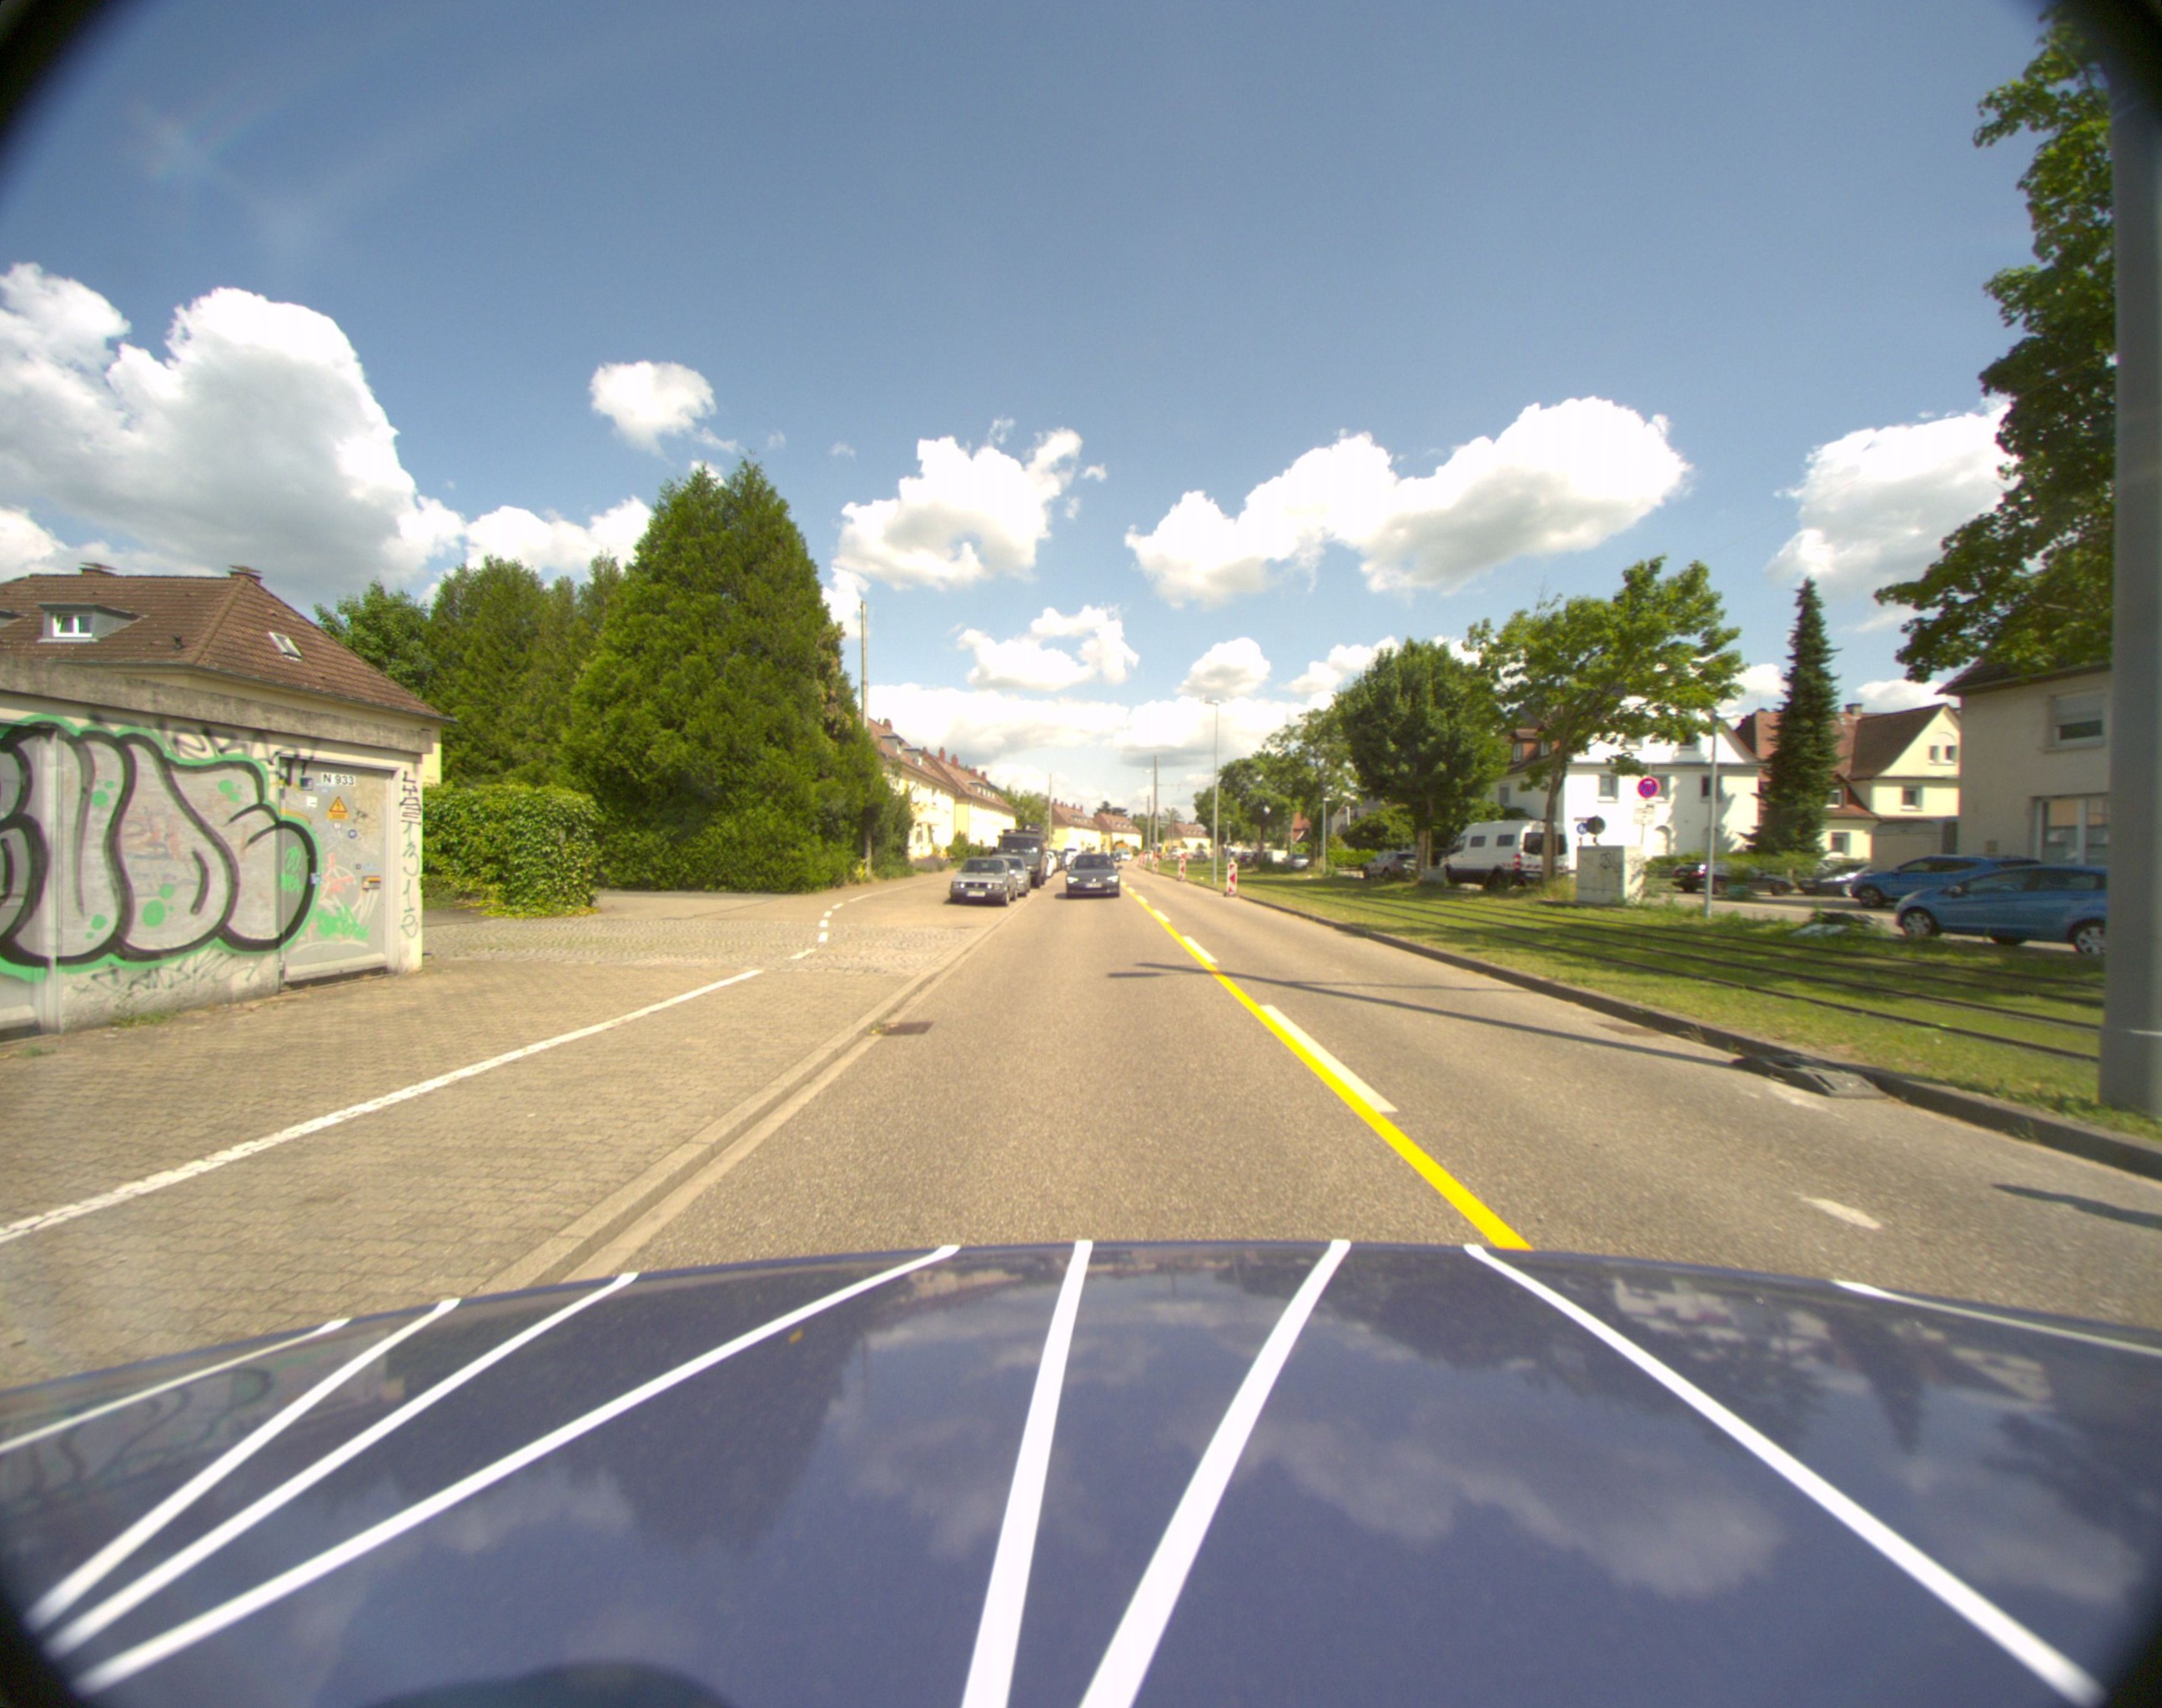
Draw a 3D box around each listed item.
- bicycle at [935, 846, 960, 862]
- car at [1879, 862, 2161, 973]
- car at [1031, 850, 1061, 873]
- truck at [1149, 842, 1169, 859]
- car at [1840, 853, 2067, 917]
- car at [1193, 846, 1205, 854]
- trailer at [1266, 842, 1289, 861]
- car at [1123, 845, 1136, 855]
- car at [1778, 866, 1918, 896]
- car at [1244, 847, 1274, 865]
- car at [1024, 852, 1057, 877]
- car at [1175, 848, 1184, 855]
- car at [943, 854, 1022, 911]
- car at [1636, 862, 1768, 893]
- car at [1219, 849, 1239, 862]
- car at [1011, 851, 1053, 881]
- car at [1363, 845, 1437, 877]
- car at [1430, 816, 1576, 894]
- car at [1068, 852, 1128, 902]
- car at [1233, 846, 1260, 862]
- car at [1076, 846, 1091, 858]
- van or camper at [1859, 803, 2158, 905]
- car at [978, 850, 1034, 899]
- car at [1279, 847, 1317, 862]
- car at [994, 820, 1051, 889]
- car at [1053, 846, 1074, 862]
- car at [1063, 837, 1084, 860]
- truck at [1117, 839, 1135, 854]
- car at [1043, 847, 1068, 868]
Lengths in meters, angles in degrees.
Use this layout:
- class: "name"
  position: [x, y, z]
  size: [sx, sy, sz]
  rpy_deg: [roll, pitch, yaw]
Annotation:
- class: "bicycle"
  position: [-9.571, 0.004, 54.442]
  size: [1.693, 1.096, 0.290]
  rpy_deg: [0, 1, 0]
- class: "car"
  position: [16.041, 0.924, 12.524]
  size: [1.758, 1.427, 3.889]
  rpy_deg: [1, 1, 3]
- class: "car"
  position: [-2.308, 0.485, 50.687]
  size: [1.653, 1.410, 4.025]
  rpy_deg: [1, 1, 1]
- class: "truck"
  position: [16.327, -0.762, 158.242]
  size: [2.699, 3.346, 8.058]
  rpy_deg: [2, 1, 15]
- class: "car"
  position: [24.816, 0.816, 21.879]
  size: [1.907, 1.568, 3.999]
  rpy_deg: [1, 1, 1]
- class: "car"
  position: [30.505, -1.102, 196.572]
  size: [1.838, 2.043, 3.875]
  rpy_deg: [2, 1, 26]
- class: "trailer"
  position: [16.579, -0.212, 64.095]
  size: [1.302, 1.510, 2.281]
  rpy_deg: [1, 1, 1]
- class: "car"
  position: [8.591, -0.768, 134.206]
  size: [1.997, 1.791, 4.001]
  rpy_deg: [0, 1, 6]
- class: "car"
  position: [33.032, 1.154, 32.819]
  size: [3.997, 1.128, 2.000]
  rpy_deg: [1, 1, 1]
- class: "car"
  position: [17.356, 0.212, 74.236]
  size: [1.910, 1.569, 4.101]
  rpy_deg: [4, 0, 2]
- class: "car"
  position: [-2.322, 0.601, 44.507]
  size: [1.725, 1.288, 4.128]
  rpy_deg: [1, 1, 0]
- class: "car"
  position: [23.795, -0.656, 183.366]
  size: [1.511, 1.490, 3.579]
  rpy_deg: [2, 1, 20]
- class: "car"
  position: [-2.788, 0.771, 22.395]
  size: [1.655, 1.423, 4.096]
  rpy_deg: [1, 1, 2]
- class: "car"
  position: [26.895, 0.999, 33.022]
  size: [3.997, 1.155, 2.045]
  rpy_deg: [1, 1, 0]
- class: "car"
  position: [19.092, 0.227, 98.104]
  size: [1.998, 1.531, 4.322]
  rpy_deg: [1, 1, 4]
- class: "car"
  position: [-2.435, 0.562, 38.842]
  size: [1.725, 1.394, 4.836]
  rpy_deg: [1, 1, 1]
- class: "car"
  position: [16.426, 0.316, 39.359]
  size: [1.998, 1.497, 4.485]
  rpy_deg: [1, 1, 1]
- class: "car"
  position: [16.244, -0.002, 29.801]
  size: [1.999, 2.715, 6.461]
  rpy_deg: [1, 1, -1]
- class: "car"
  position: [0.498, 0.703, 25.344]
  size: [1.786, 1.412, 4.288]
  rpy_deg: [-1, 1, -1]
- class: "car"
  position: [17.267, -0.022, 79.585]
  size: [1.998, 1.531, 4.322]
  rpy_deg: [1, 1, 1]
- class: "car"
  position: [0.280, -0.231, 96.843]
  size: [1.513, 1.490, 3.408]
  rpy_deg: [1, 1, 6]
- class: "van or camper"
  position: [30.985, -0.029, 25.609]
  size: [6.744, 3.203, 2.634]
  rpy_deg: [1, 1, 0]
- class: "car"
  position: [-2.617, 0.671, 27.415]
  size: [1.696, 1.507, 4.354]
  rpy_deg: [1, 1, -2]
- class: "car"
  position: [16.691, 0.029, 58.589]
  size: [1.785, 1.087, 3.835]
  rpy_deg: [1, 1, 1]
- class: "car"
  position: [-2.477, -0.009, 33.432]
  size: [2.001, 2.745, 4.878]
  rpy_deg: [1, 1, 1]
- class: "car"
  position: [-1.690, -0.013, 73.961]
  size: [1.756, 1.480, 4.627]
  rpy_deg: [2, 1, 1]
- class: "car"
  position: [-0.836, -0.675, 87.776]
  size: [1.923, 2.523, 5.346]
  rpy_deg: [1, 1, 5]
- class: "truck"
  position: [9.089, -1.496, 152.524]
  size: [2.530, 2.931, 7.866]
  rpy_deg: [1, 1, 12]
- class: "car"
  position: [-2.008, 0.256, 60.317]
  size: [1.689, 1.429, 4.515]
  rpy_deg: [2, 2, 1]
